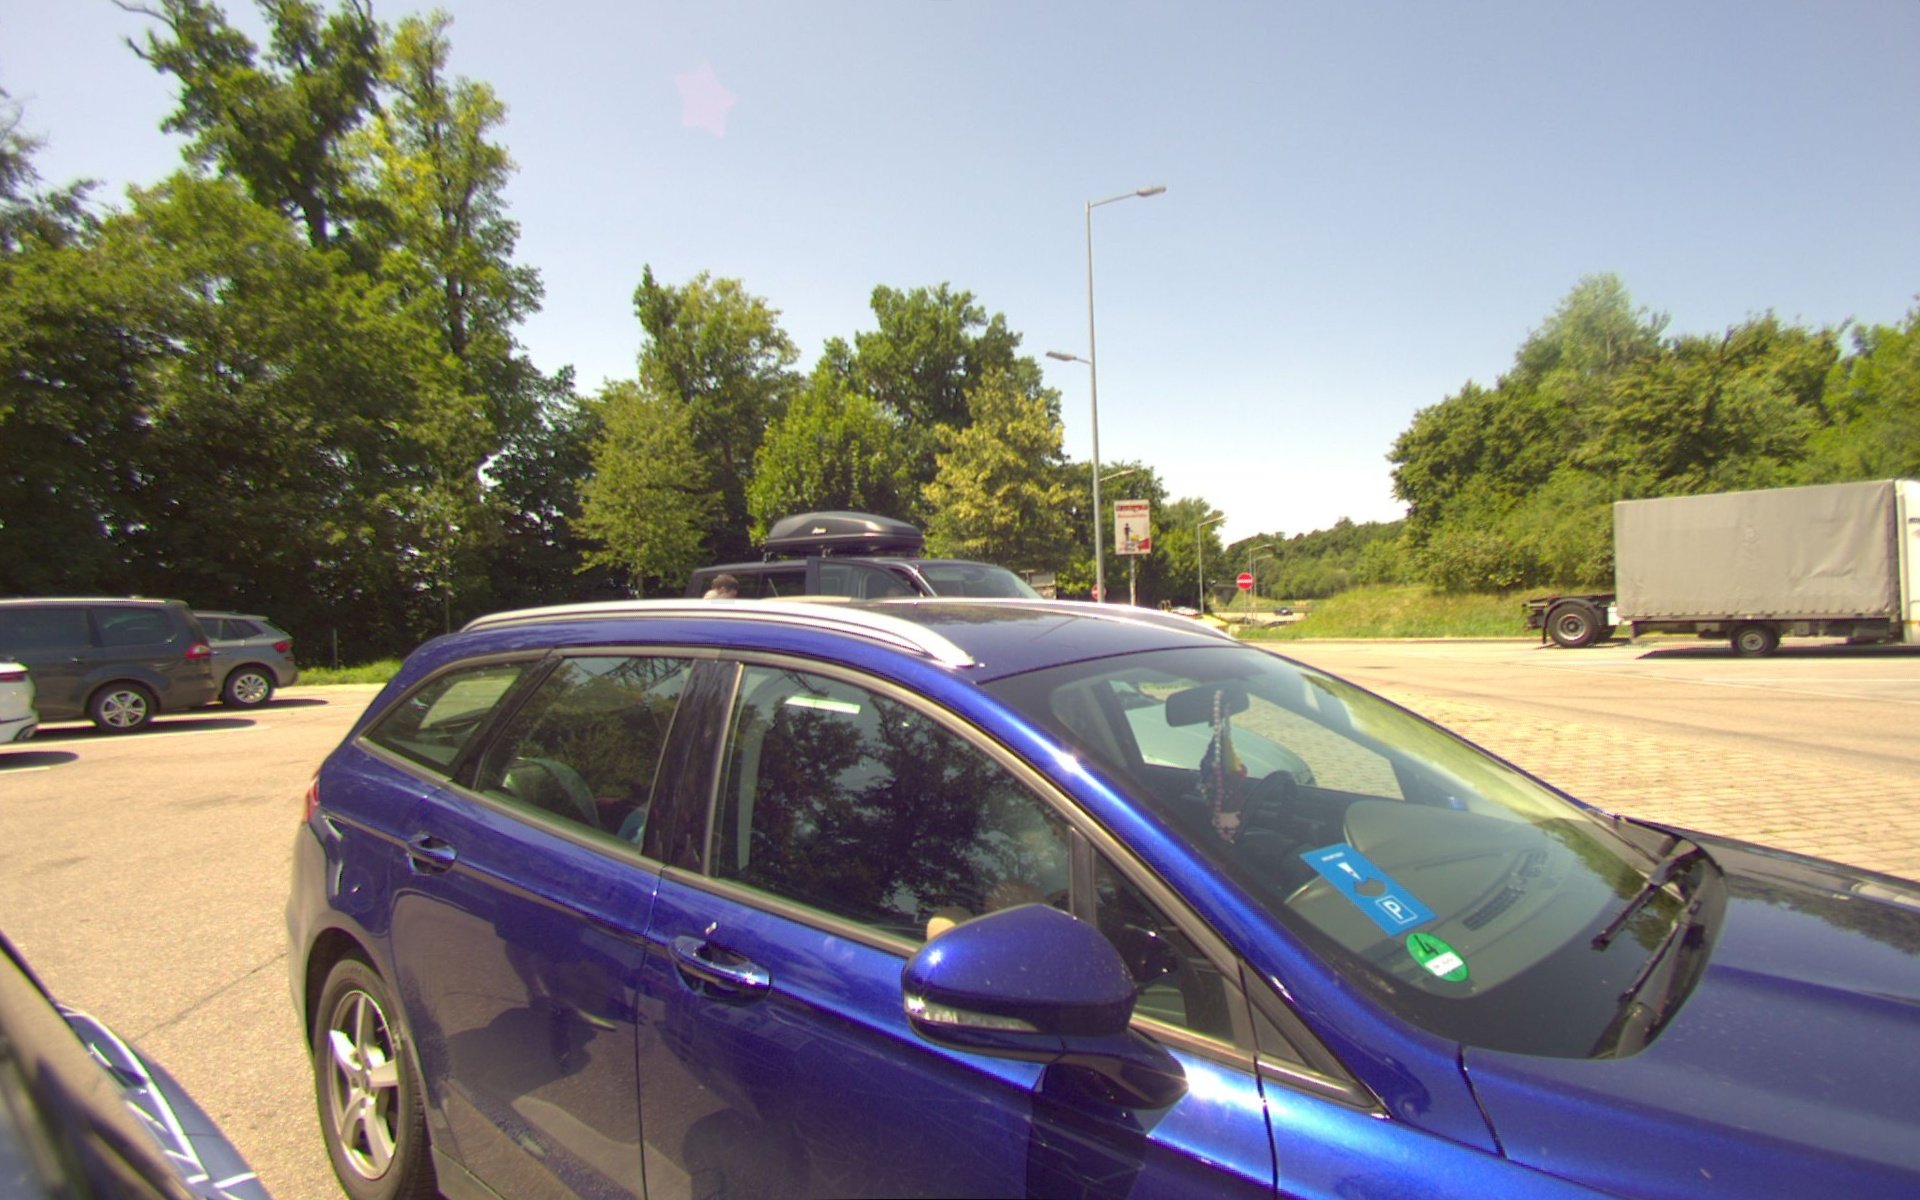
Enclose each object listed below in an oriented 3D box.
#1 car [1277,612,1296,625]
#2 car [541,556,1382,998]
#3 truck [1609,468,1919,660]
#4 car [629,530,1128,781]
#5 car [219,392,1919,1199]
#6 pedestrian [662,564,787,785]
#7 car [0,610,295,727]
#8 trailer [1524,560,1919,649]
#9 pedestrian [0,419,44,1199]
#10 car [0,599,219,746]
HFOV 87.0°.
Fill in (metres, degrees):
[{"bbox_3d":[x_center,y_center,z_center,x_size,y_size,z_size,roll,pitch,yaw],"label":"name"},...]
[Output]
[{"bbox_3d":[52.832,2.974,163.809,1.973,2.029,3.998,-1,0,2],"label":"car"},{"bbox_3d":[-0.322,0.670,5.610,4.569,1.517,1.735,-3,0,40],"label":"car"},{"bbox_3d":[16.783,-0.646,19.009,7.274,3.269,2.678,-4,-1,42],"label":"truck"},{"bbox_3d":[-0.892,0.500,9.659,4.558,1.912,1.740,-3,0,32],"label":"car"},{"bbox_3d":[0.233,0.635,2.073,4.569,1.482,1.735,-3,0,40],"label":"car"},{"bbox_3d":[-1.968,0.597,8.538,0.748,1.767,0.782,-1,0,13],"label":"pedestrian"},{"bbox_3d":[-12.621,0.974,15.665,3.767,1.572,1.654,-1,0,-38],"label":"car"},{"bbox_3d":[17.708,0.159,23.106,8.098,1.638,2.187,-4,-1,41],"label":"trailer"},{"bbox_3d":[-2.728,0.521,2.243,0.905,1.919,0.816,-1,0,-33],"label":"pedestrian"},{"bbox_3d":[-11.630,0.869,12.658,3.767,1.708,1.654,-1,0,-38],"label":"car"}]
